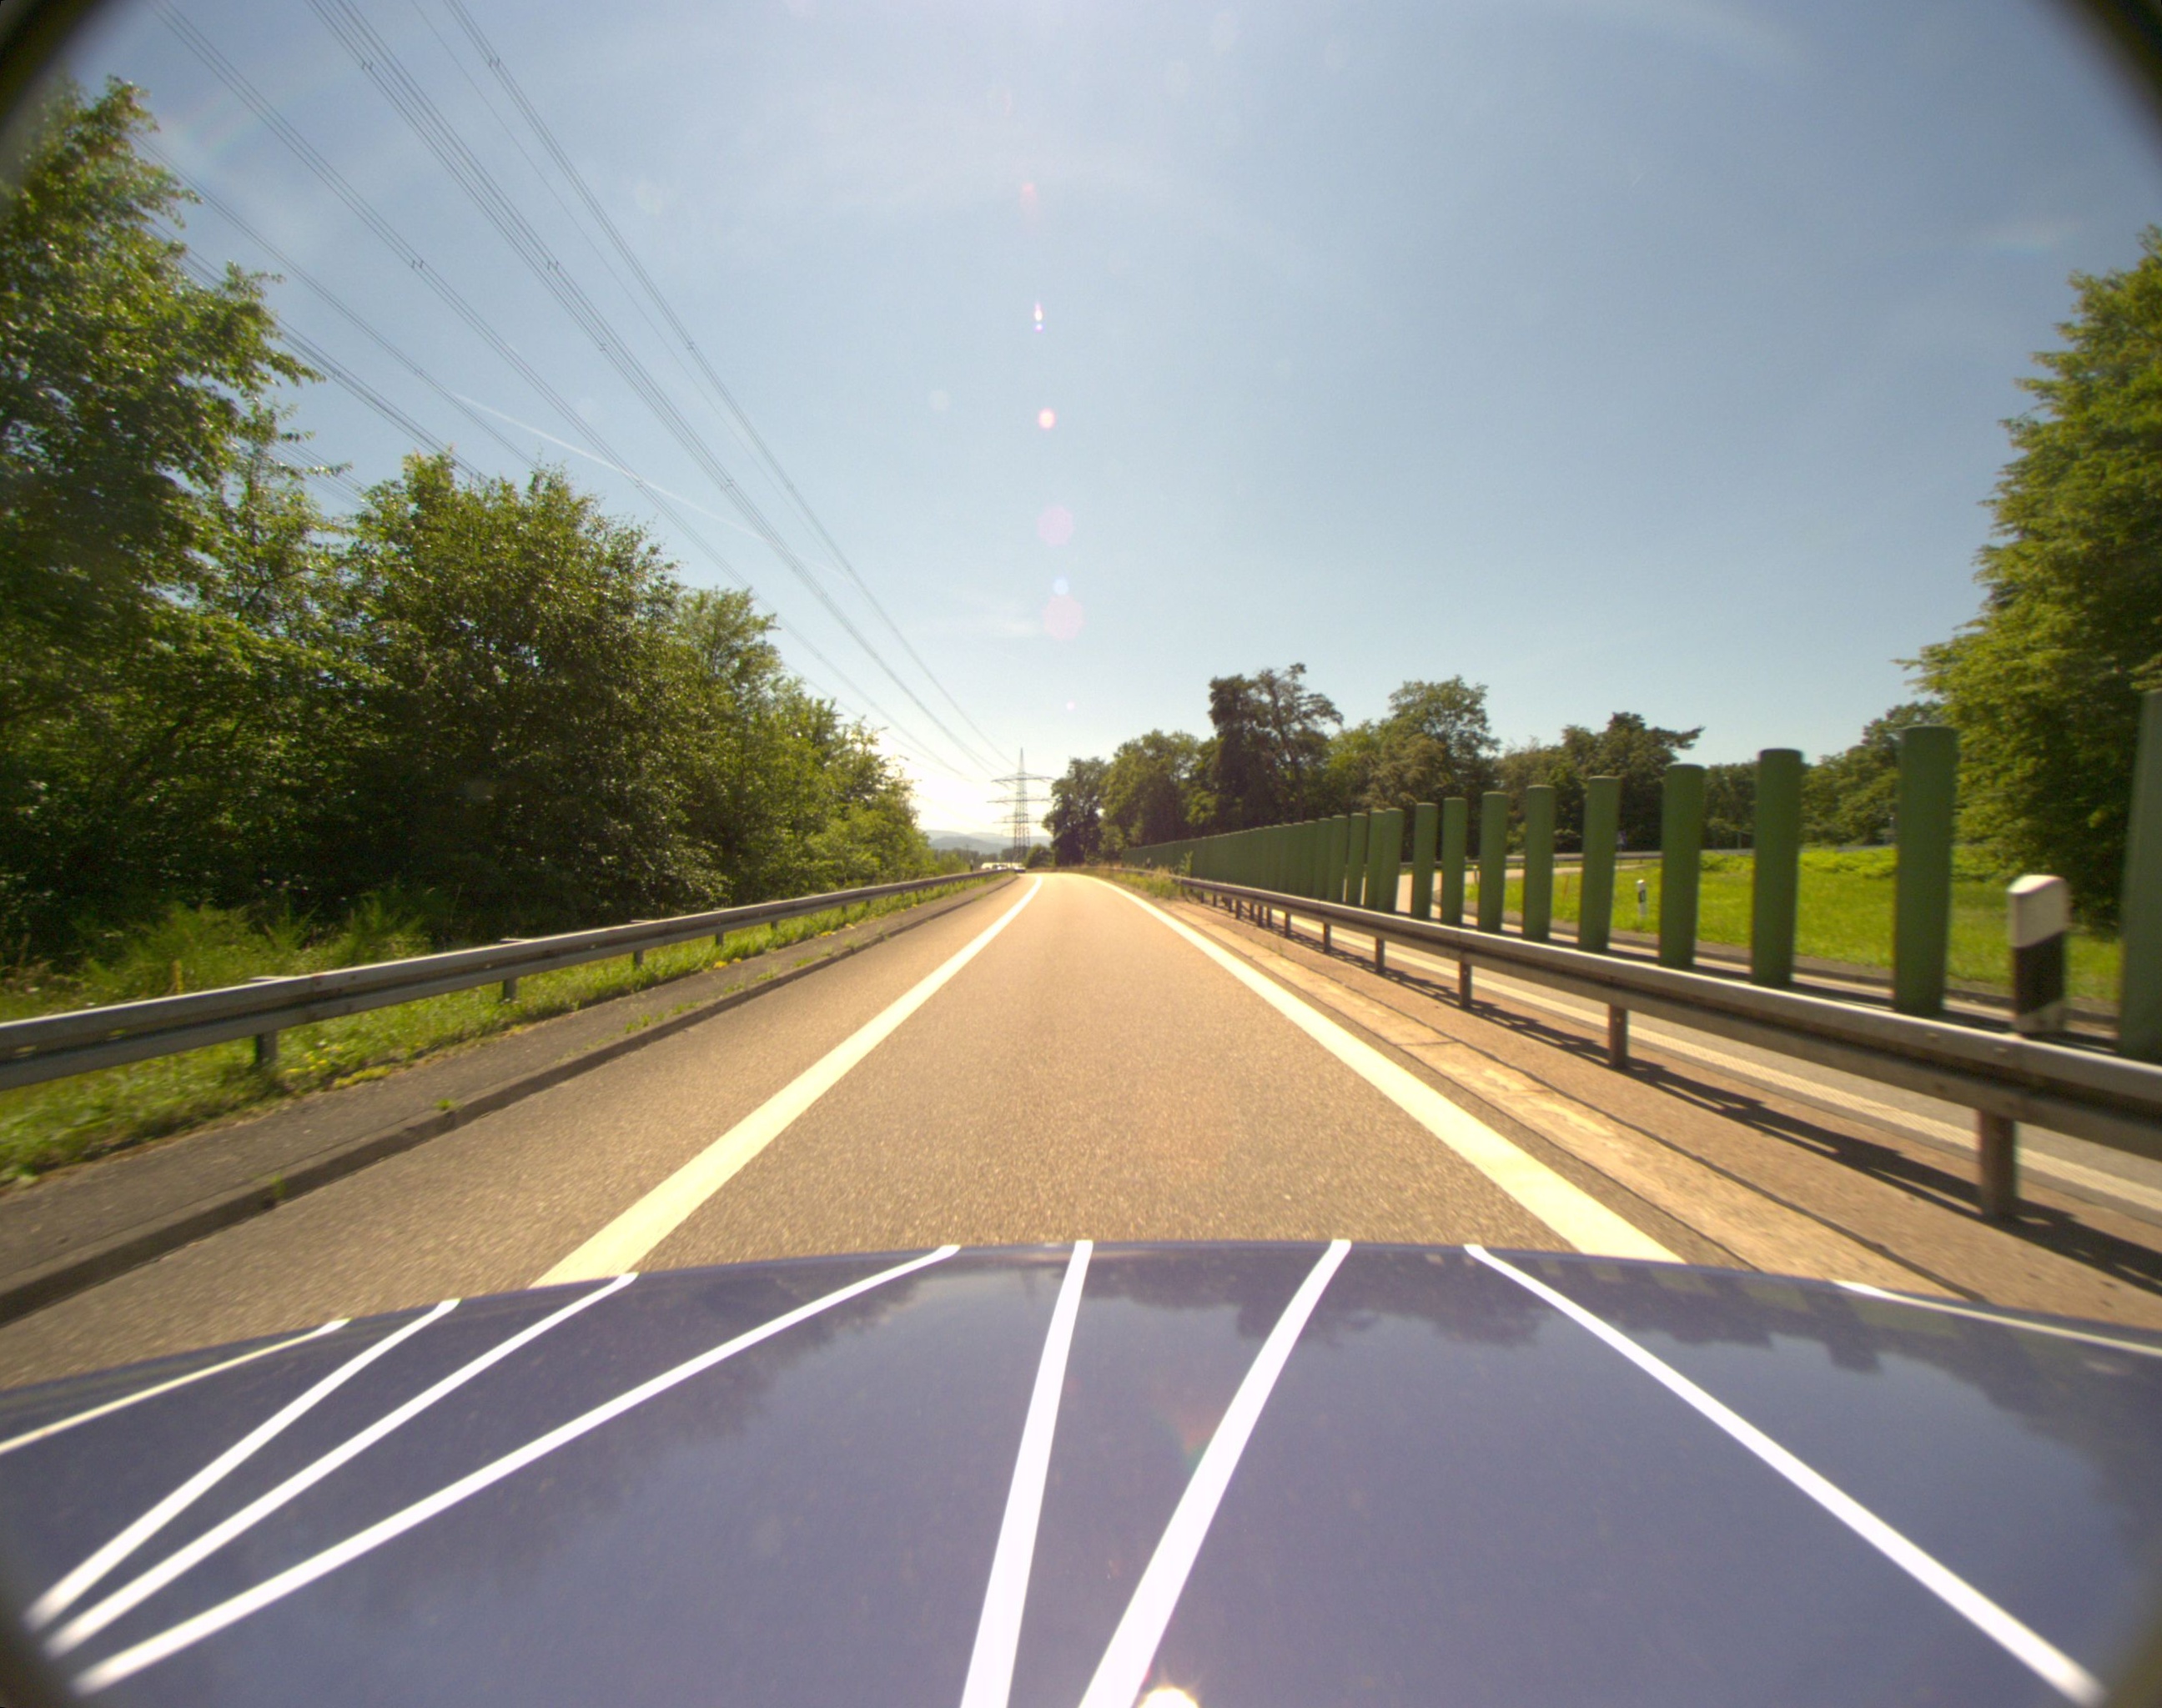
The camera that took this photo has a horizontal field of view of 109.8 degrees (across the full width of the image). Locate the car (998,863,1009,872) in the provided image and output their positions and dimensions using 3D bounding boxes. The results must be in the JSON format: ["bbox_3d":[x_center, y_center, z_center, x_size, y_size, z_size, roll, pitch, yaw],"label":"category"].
[{"bbox_3d":[-14.579,2.502,142.220,2.000,1.674,3.998,-1,-1,-7],"label":"car"}]

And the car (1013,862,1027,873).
[{"bbox_3d":[-10.213,2.230,127.151,2.000,1.674,3.998,-1,-1,-7],"label":"car"}]
